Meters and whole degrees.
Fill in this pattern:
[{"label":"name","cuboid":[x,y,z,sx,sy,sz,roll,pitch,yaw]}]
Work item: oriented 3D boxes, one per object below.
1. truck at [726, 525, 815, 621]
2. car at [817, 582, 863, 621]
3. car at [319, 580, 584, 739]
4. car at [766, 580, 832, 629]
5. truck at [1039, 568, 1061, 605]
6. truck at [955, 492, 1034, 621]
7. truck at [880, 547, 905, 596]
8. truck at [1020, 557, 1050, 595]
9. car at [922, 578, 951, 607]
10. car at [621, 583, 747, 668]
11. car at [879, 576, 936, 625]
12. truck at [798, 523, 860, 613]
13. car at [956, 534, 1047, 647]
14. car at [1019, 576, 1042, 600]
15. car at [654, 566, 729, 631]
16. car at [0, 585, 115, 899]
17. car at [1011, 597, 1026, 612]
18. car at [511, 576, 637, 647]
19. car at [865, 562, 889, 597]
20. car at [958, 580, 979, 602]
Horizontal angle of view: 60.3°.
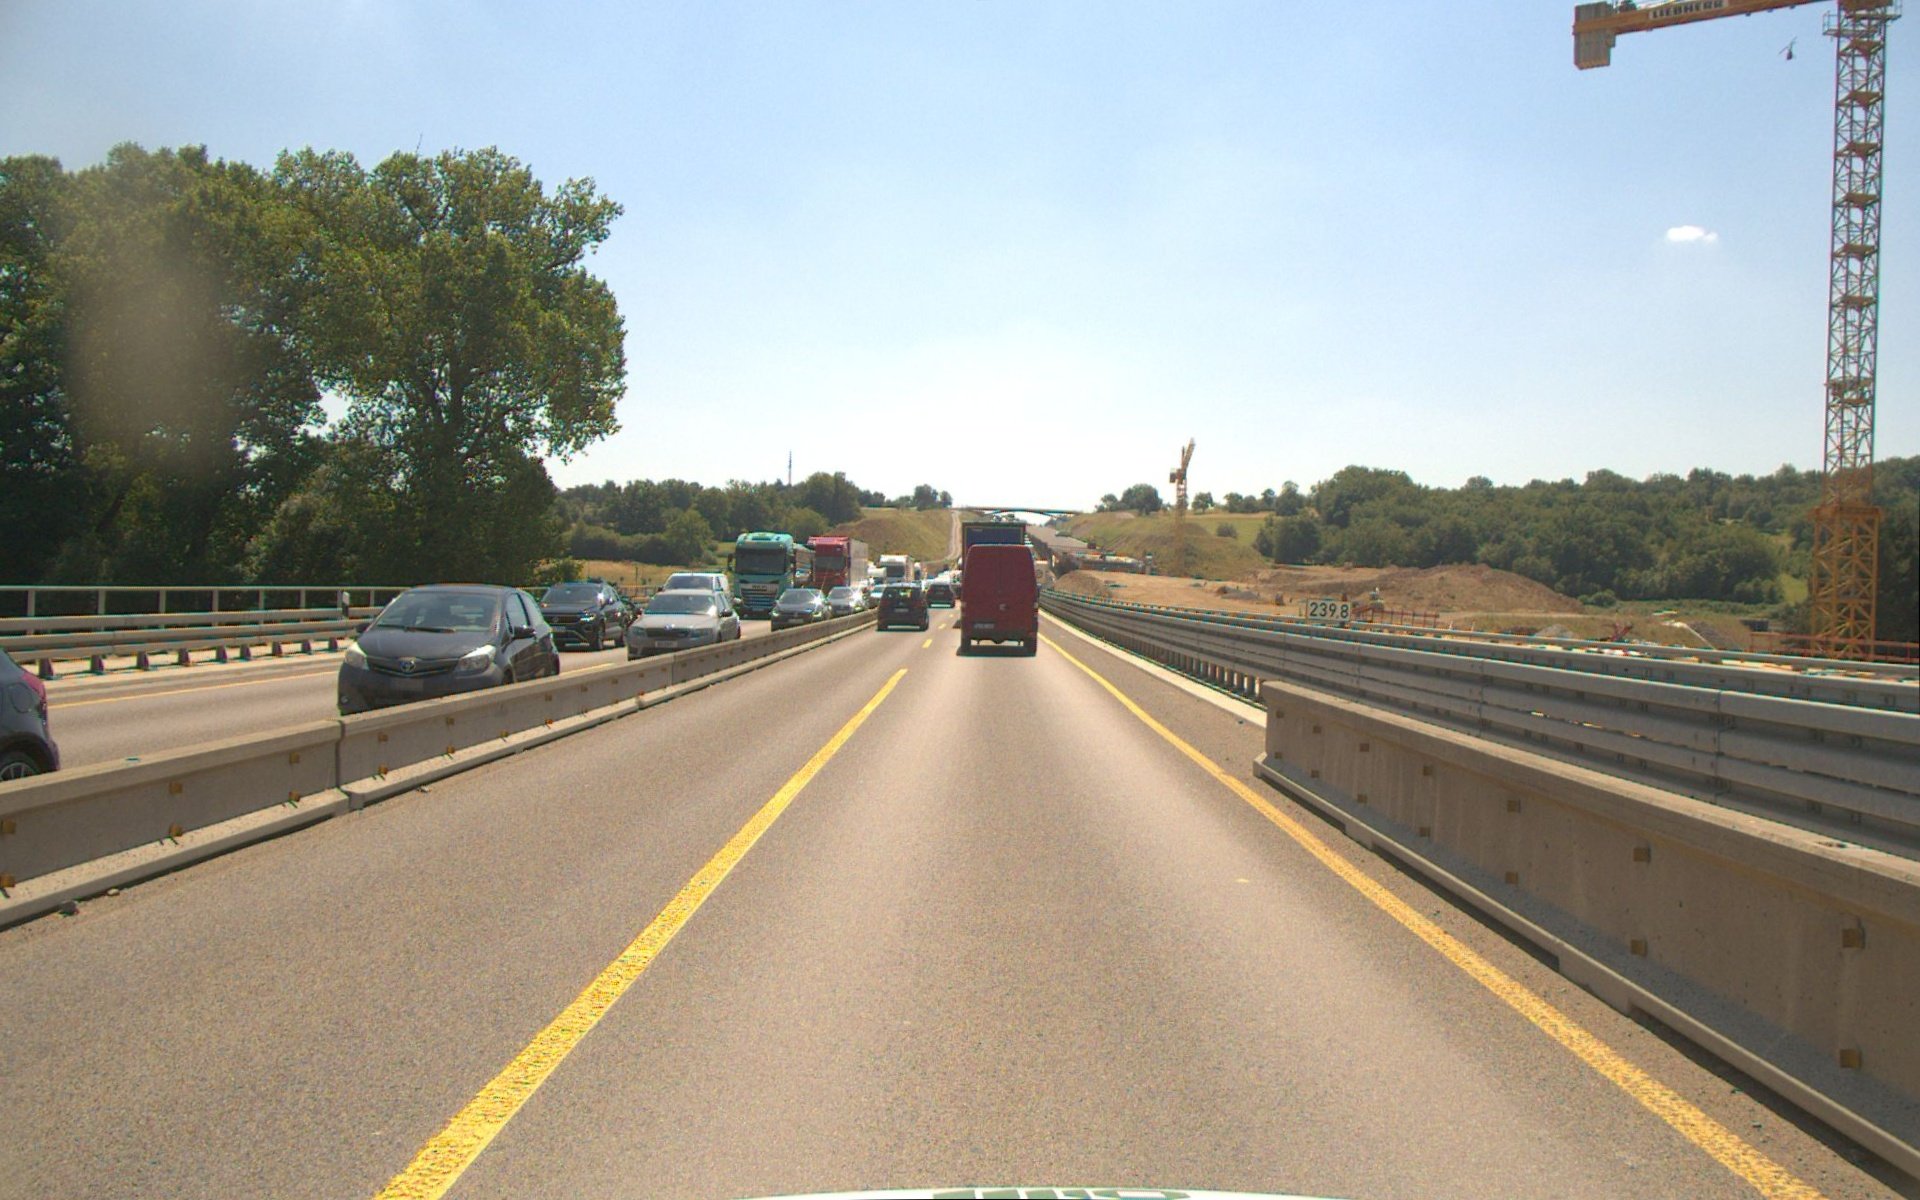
[{"label":"truck","cuboid":[-8.684,-1.188,77.225,2.751,4.033,12.132,2,0,-1]},{"label":"car","cuboid":[-5.060,0.055,70.057,1.675,1.522,3.601,2,0,-1]},{"label":"car","cuboid":[-5.545,0.582,18.586,1.690,1.522,4.133,2,0,-1]},{"label":"car","cuboid":[-5.299,0.135,54.879,1.783,1.522,4.133,2,0,-1]},{"label":"truck","cuboid":[10.433,-1.533,192.285,2.244,3.805,6.481,1,-3,0]},{"label":"truck","cuboid":[1.356,-1.726,68.538,2.885,5.032,6.740,1,0,-1]},{"label":"truck","cuboid":[-6.257,-2.584,153.388,1.953,4.076,6.480,1,-3,0]},{"label":"truck","cuboid":[6.634,-2.107,146.129,2.244,3.252,6.482,1,1,-1]},{"label":"car","cuboid":[-1.467,-0.488,104.650,1.783,1.726,4.133,2,0,-1]},{"label":"car","cuboid":[-5.415,0.464,32.926,1.783,1.522,4.133,2,0,-1]},{"label":"car","cuboid":[-1.879,0.037,60.450,1.698,1.664,4.390,2,-1,2]},{"label":"truck","cuboid":[-7.849,-1.878,100.532,2.751,5.025,12.132,2,0,-1]},{"label":"car","cuboid":[1.079,-0.253,42.853,2.105,2.656,5.440,2,0,2]},{"label":"car","cuboid":[5.359,-0.908,126.383,1.584,1.729,3.890,2,0,0]},{"label":"car","cuboid":[-8.986,-0.064,55.579,1.953,2.049,3.998,1,0,-2]},{"label":"car","cuboid":[-5.553,0.686,6.919,1.721,1.522,4.440,2,0,0]},{"label":"car","cuboid":[7.421,0.560,210.585,1.585,1.868,3.888,2,-1,-1]},{"label":"car","cuboid":[-9.066,0.242,39.274,1.783,1.522,5.172,2,0,-1]},{"label":"car","cuboid":[-6.494,-1.594,129.209,1.584,2.647,3.890,2,0,0]},{"label":"car","cuboid":[0.702,-0.742,135.730,1.584,1.729,3.890,2,0,0]}]
